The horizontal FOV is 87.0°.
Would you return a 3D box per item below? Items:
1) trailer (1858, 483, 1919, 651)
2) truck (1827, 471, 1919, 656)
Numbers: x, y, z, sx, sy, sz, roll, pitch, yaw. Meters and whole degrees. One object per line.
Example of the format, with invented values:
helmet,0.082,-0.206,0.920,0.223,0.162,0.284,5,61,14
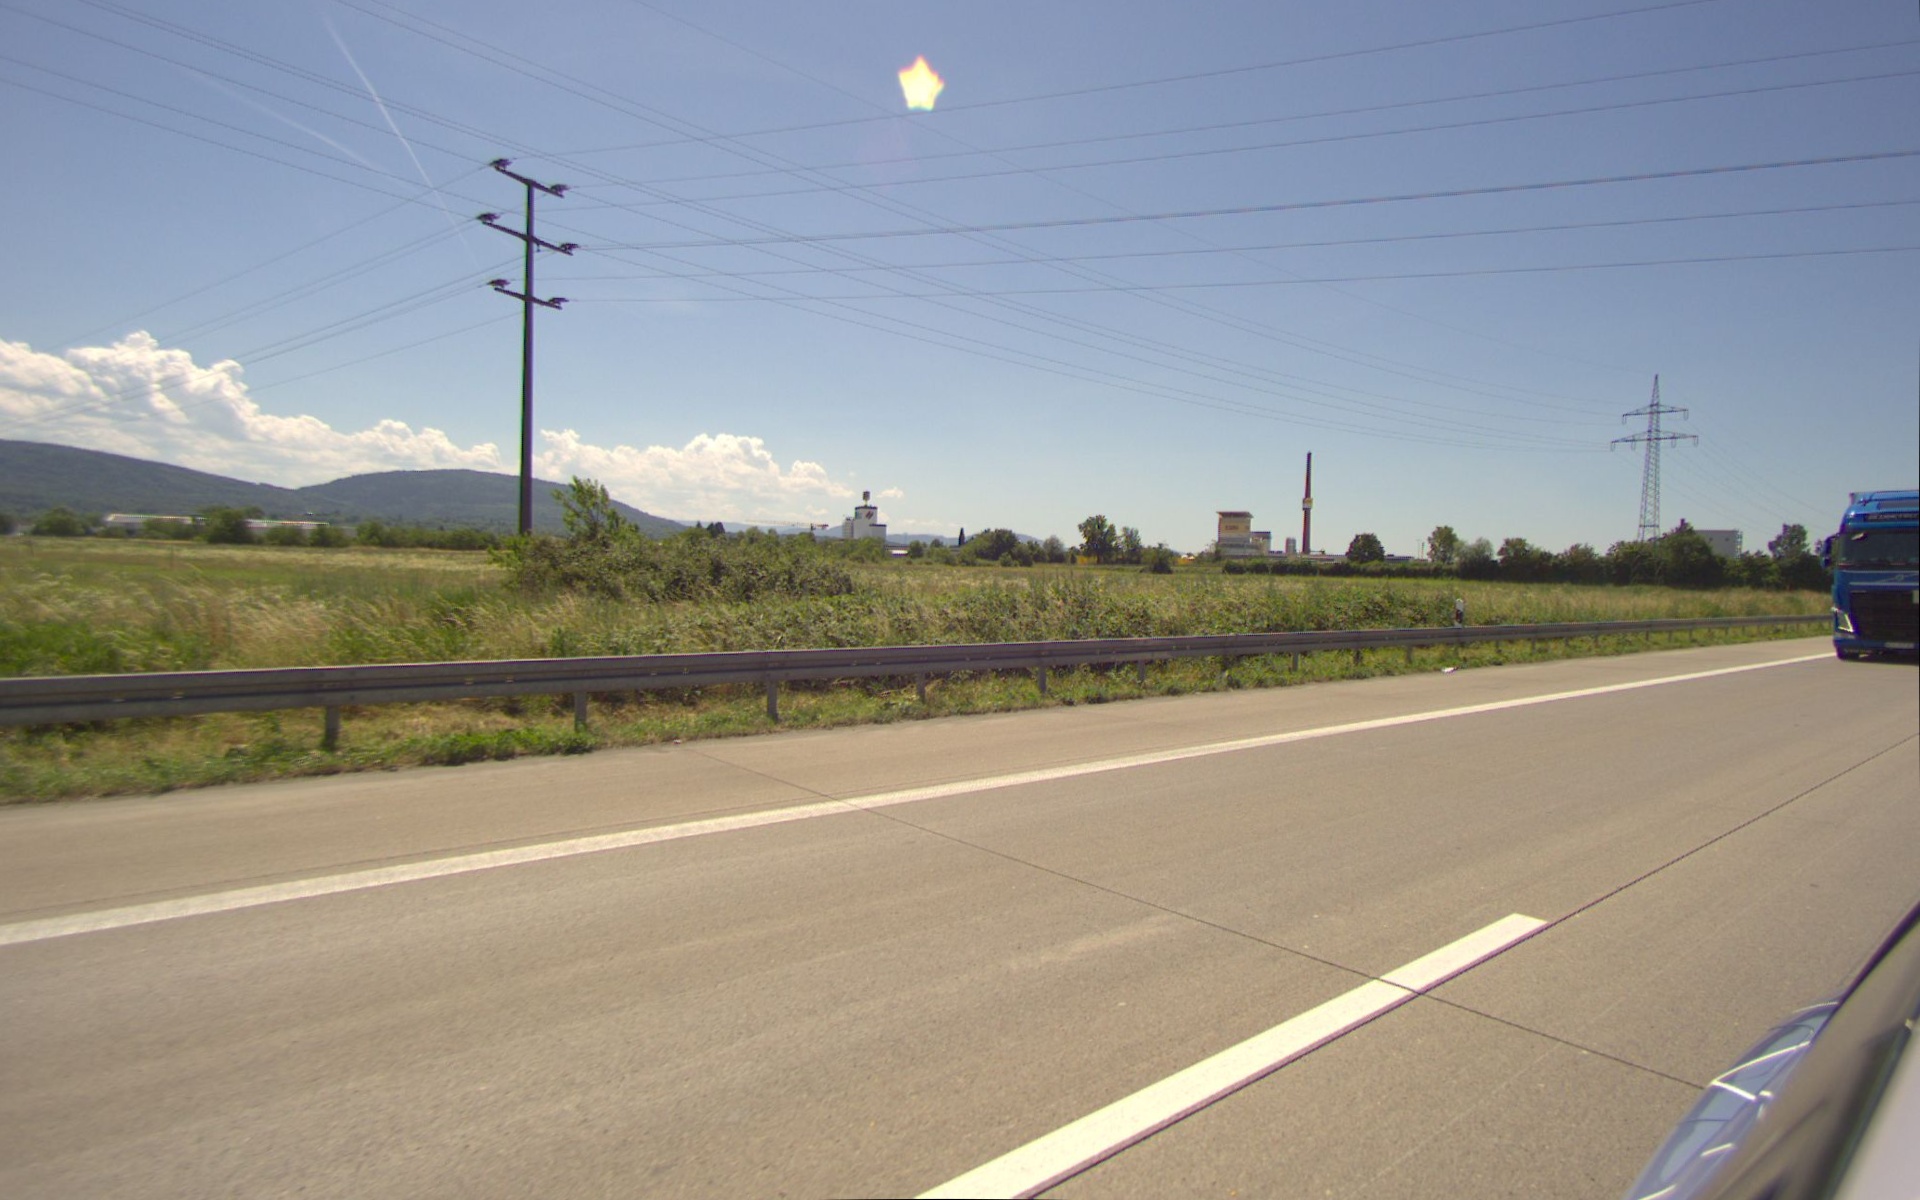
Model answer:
trailer,28.532,-0.829,28.603,12.670,4.094,2.715,0,1,-39
truck,23.227,-0.819,24.279,5.367,4.094,2.757,0,0,-39
